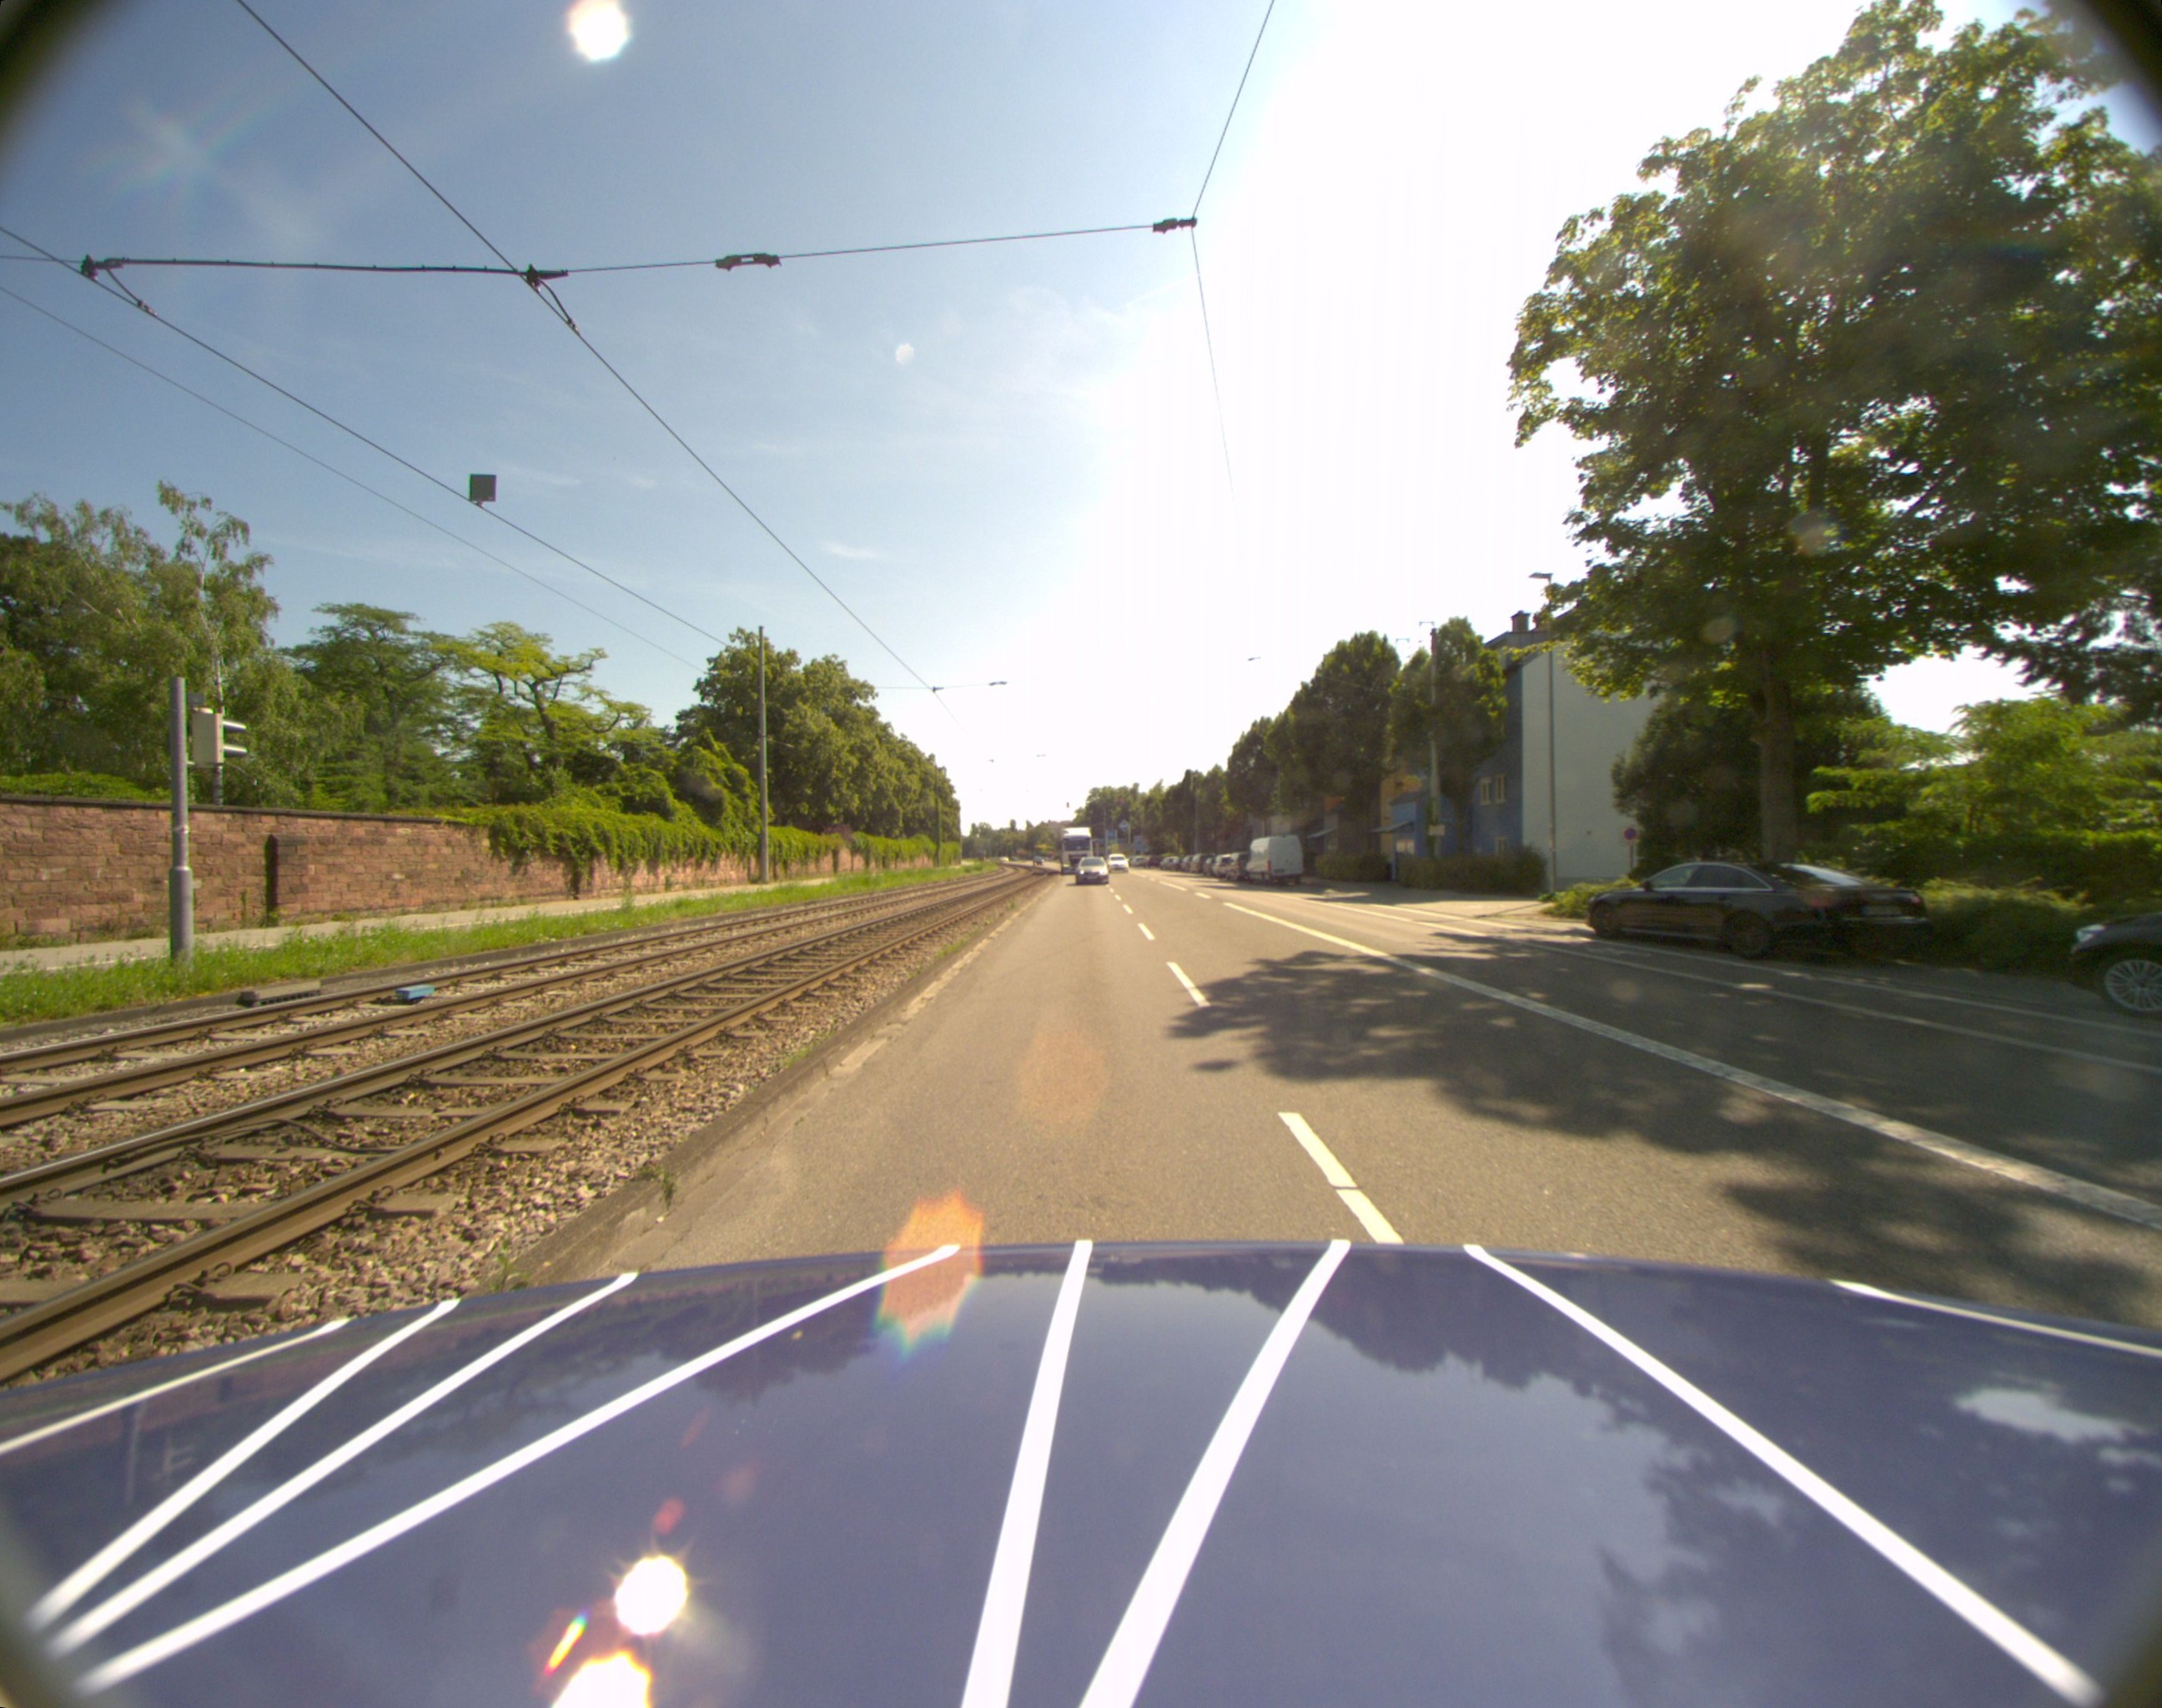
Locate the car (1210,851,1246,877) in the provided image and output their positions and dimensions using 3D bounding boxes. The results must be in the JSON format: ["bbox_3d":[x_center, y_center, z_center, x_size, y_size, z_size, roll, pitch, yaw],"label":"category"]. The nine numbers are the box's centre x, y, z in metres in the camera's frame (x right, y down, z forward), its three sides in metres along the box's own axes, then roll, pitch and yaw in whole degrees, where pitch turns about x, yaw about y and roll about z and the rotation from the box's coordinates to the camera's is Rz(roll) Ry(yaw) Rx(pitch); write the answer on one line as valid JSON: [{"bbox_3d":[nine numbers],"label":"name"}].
[{"bbox_3d":[10.998,0.726,57.231,1.853,1.693,4.540,-4,1,1],"label":"car"}]

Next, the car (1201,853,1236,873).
[{"bbox_3d":[11.203,0.736,62.342,1.871,1.447,4.074,-4,1,-3],"label":"car"}]

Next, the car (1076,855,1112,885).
[{"bbox_3d":[0.678,0.820,40.562,1.747,1.421,5.041,-1,0,1],"label":"car"}]

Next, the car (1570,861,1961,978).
[{"bbox_3d":[10.577,0.885,12.433,1.845,1.457,4.908,0,0,-3],"label":"car"}]

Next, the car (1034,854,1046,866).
[{"bbox_3d":[-6.899,0.987,127.261,1.855,1.707,3.997,-2,1,-6],"label":"car"}]

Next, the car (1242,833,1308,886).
[{"bbox_3d":[10.996,0.280,43.608,1.998,2.661,7.086,-4,0,1],"label":"car"}]

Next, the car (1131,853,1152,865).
[{"bbox_3d":[8.326,0.672,105.068,2.040,1.490,4.130,-2,1,-6],"label":"car"}]

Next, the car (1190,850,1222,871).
[{"bbox_3d":[11.093,0.519,67.651,1.834,1.718,4.348,-3,1,-3],"label":"car"}]

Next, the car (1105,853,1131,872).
[{"bbox_3d":[3.188,0.738,65.932,1.785,1.538,4.392,-2,0,-4],"label":"car"}]

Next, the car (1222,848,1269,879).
[{"bbox_3d":[11.120,0.634,51.694,1.998,1.855,4.966,-5,0,1],"label":"car"}]

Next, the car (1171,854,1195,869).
[{"bbox_3d":[10.594,0.748,79.052,1.681,1.462,4.212,-2,1,-4],"label":"car"}]

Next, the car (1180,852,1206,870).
[{"bbox_3d":[10.737,0.656,72.921,1.681,1.598,4.164,-2,1,-3],"label":"car"}]

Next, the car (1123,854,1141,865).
[{"bbox_3d":[7.356,0.765,109.413,1.915,1.469,4.213,-2,1,-6],"label":"car"}]

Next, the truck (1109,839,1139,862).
[{"bbox_3d":[6.584,-0.531,117.077,3.165,3.533,8.779,0,0,-6],"label":"truck"}]

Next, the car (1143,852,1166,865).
[{"bbox_3d":[9.410,0.511,97.264,1.911,1.567,4.929,-2,1,-6],"label":"car"}]

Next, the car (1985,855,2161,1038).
[{"bbox_3d":[10.566,0.839,5.699,1.766,1.596,4.893,-1,0,0],"label":"car"}]

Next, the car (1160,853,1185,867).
[{"bbox_3d":[10.297,0.641,85.729,1.682,1.437,4.835,-2,1,-6],"label":"car"}]

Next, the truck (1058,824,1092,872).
[{"bbox_3d":[-0.416,-0.524,69.079,2.805,3.926,11.943,0,0,1],"label":"truck"}]
